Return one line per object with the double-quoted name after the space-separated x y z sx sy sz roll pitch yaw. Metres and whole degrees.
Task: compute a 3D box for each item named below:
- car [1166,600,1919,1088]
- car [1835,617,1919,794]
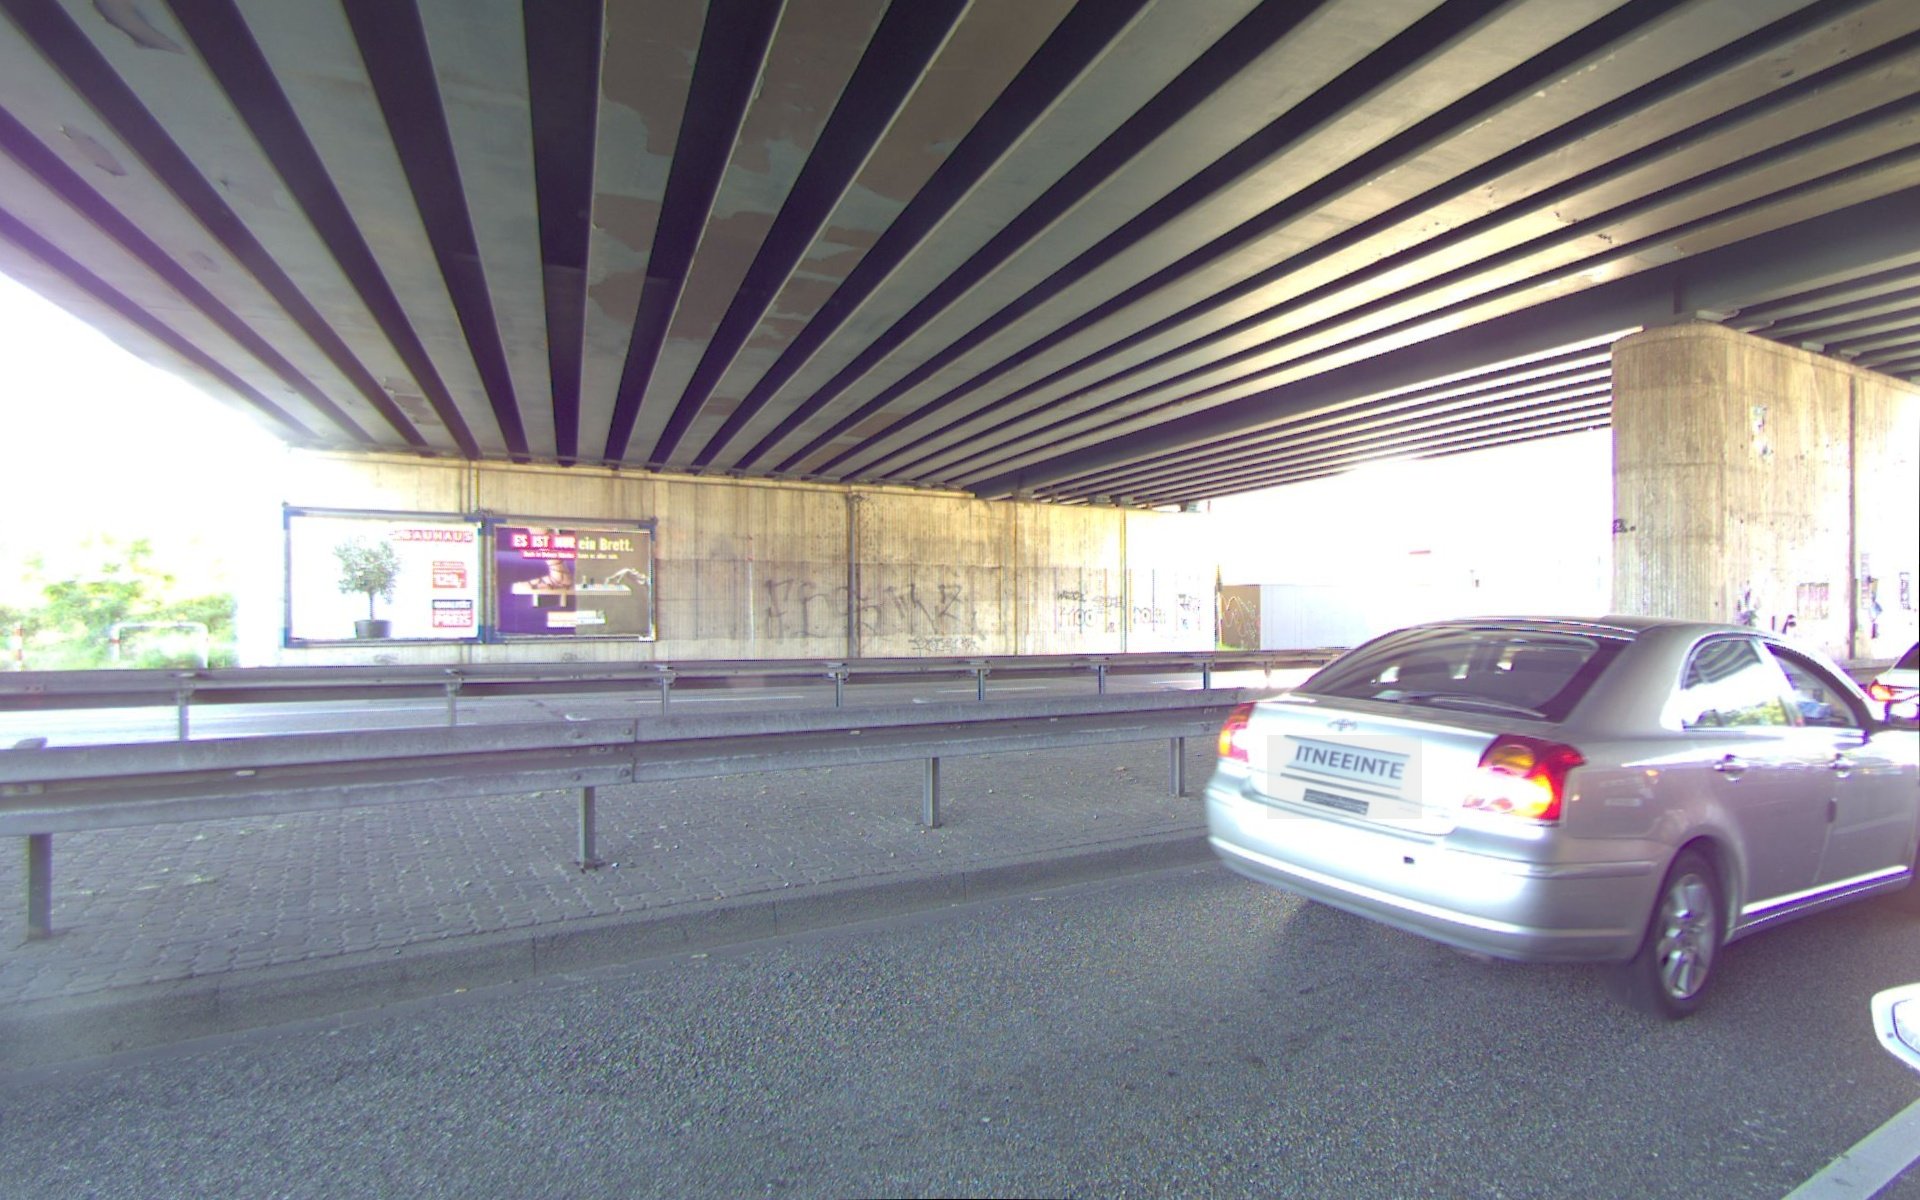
3.221 0.782 4.931 4.348 1.474 1.687 1 0 -32 "car"
9.619 0.904 8.883 3.768 1.429 1.685 1 0 -30 "car"
